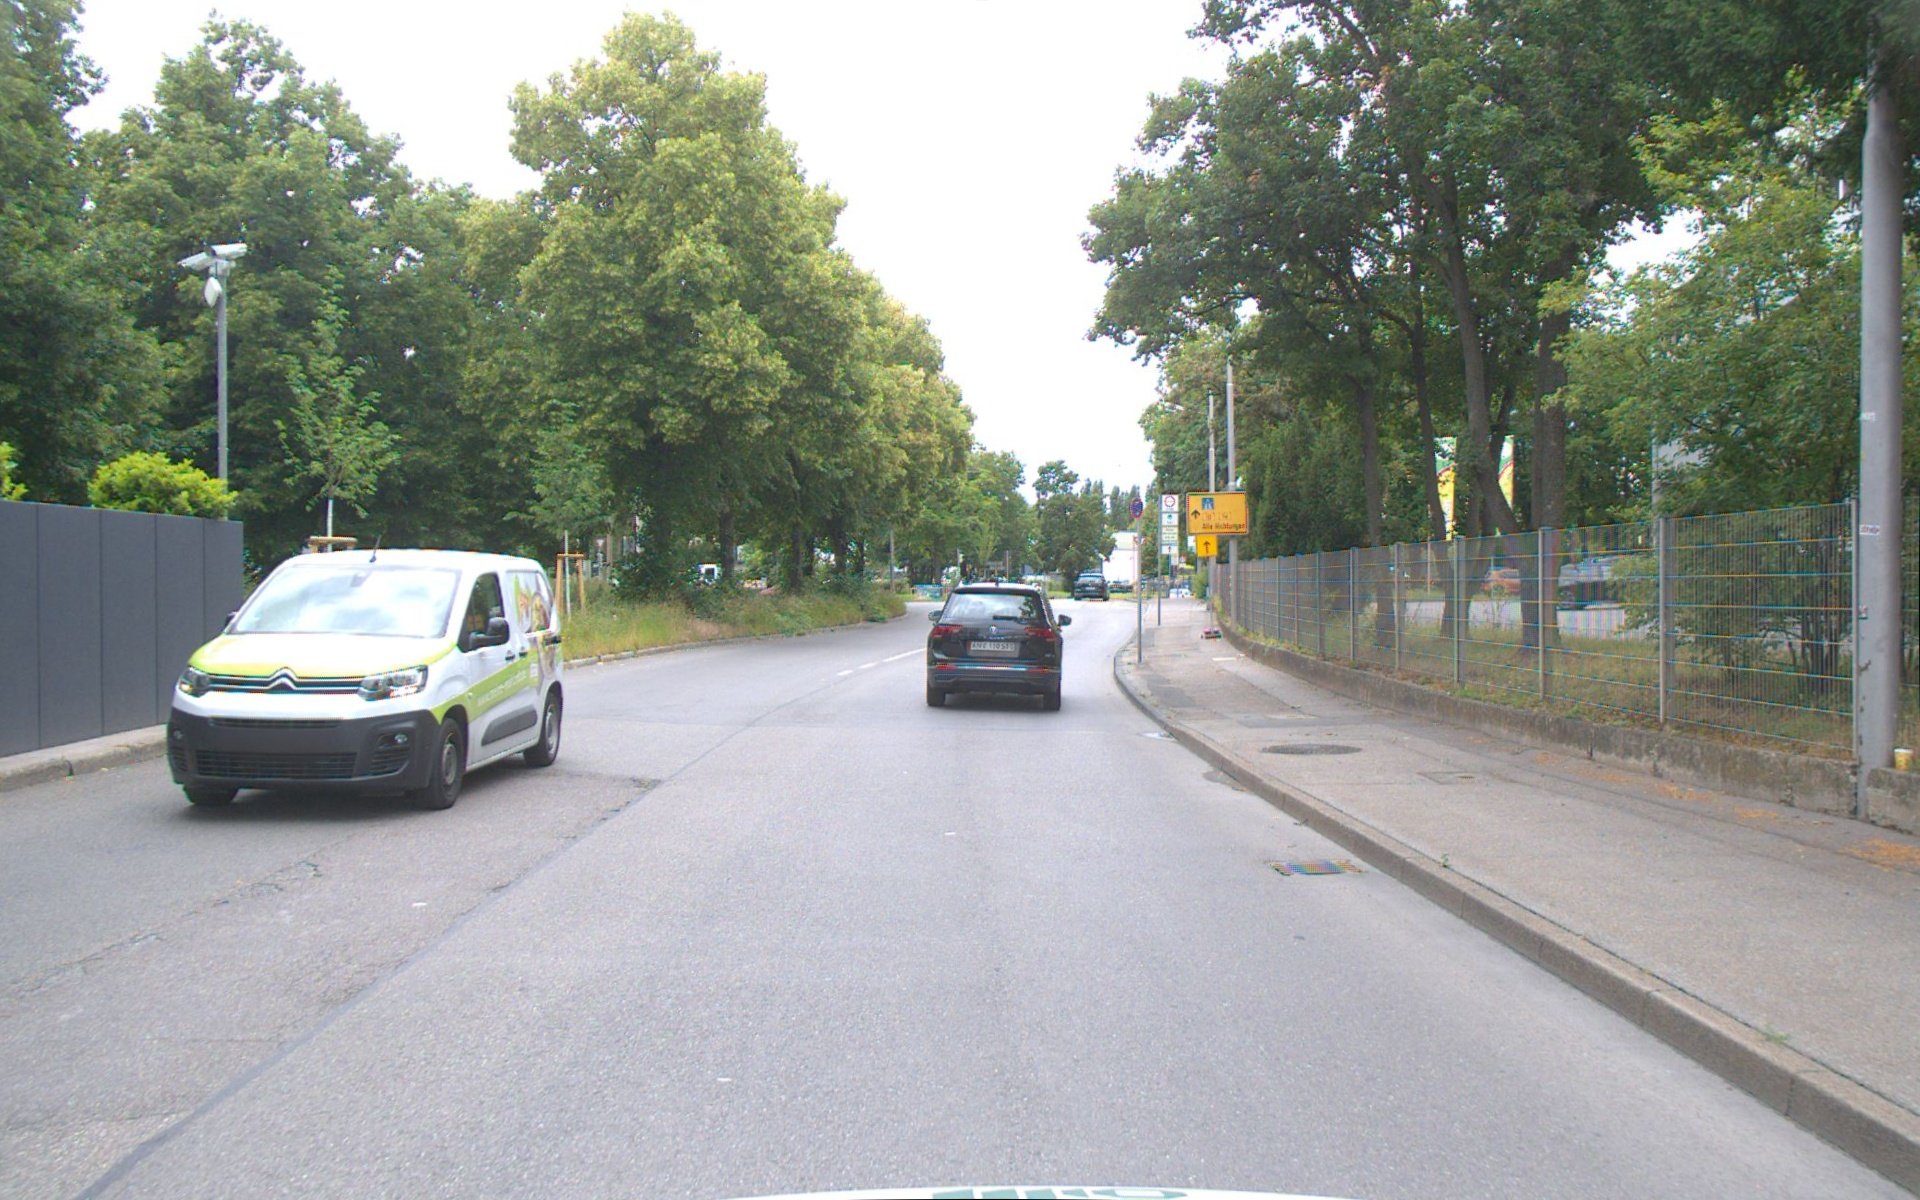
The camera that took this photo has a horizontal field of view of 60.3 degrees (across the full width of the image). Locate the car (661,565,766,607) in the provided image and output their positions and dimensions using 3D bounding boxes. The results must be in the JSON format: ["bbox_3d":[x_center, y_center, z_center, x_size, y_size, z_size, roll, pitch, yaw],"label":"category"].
[{"bbox_3d":[-14.976,-0.879,100.605,5.945,2.429,2.395,-1,1,1],"label":"car"}]

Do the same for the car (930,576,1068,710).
[{"bbox_3d":[0.514,0.542,22.653,1.703,1.646,3.641,2,0,1],"label":"car"}]

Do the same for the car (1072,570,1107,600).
[{"bbox_3d":[7.080,-0.819,90.817,1.625,1.601,3.829,-1,0,0],"label":"car"}]

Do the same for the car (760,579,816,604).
[{"bbox_3d":[-10.801,-0.552,103.982,3.325,1.504,1.641,-1,1,-2],"label":"car"}]

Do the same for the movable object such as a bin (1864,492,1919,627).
[{"bbox_3d":[18.564,-0.764,29.414,3.902,2.345,1.954,-1,0,11],"label":"movable object such as a bin"}]

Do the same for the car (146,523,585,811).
[{"bbox_3d":[-4.222,0.402,12.520,1.770,1.795,4.206,1,0,0],"label":"car"}]

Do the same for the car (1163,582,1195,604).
[{"bbox_3d":[18.663,-0.586,140.593,1.952,1.817,4.002,0,1,19],"label":"car"}]
